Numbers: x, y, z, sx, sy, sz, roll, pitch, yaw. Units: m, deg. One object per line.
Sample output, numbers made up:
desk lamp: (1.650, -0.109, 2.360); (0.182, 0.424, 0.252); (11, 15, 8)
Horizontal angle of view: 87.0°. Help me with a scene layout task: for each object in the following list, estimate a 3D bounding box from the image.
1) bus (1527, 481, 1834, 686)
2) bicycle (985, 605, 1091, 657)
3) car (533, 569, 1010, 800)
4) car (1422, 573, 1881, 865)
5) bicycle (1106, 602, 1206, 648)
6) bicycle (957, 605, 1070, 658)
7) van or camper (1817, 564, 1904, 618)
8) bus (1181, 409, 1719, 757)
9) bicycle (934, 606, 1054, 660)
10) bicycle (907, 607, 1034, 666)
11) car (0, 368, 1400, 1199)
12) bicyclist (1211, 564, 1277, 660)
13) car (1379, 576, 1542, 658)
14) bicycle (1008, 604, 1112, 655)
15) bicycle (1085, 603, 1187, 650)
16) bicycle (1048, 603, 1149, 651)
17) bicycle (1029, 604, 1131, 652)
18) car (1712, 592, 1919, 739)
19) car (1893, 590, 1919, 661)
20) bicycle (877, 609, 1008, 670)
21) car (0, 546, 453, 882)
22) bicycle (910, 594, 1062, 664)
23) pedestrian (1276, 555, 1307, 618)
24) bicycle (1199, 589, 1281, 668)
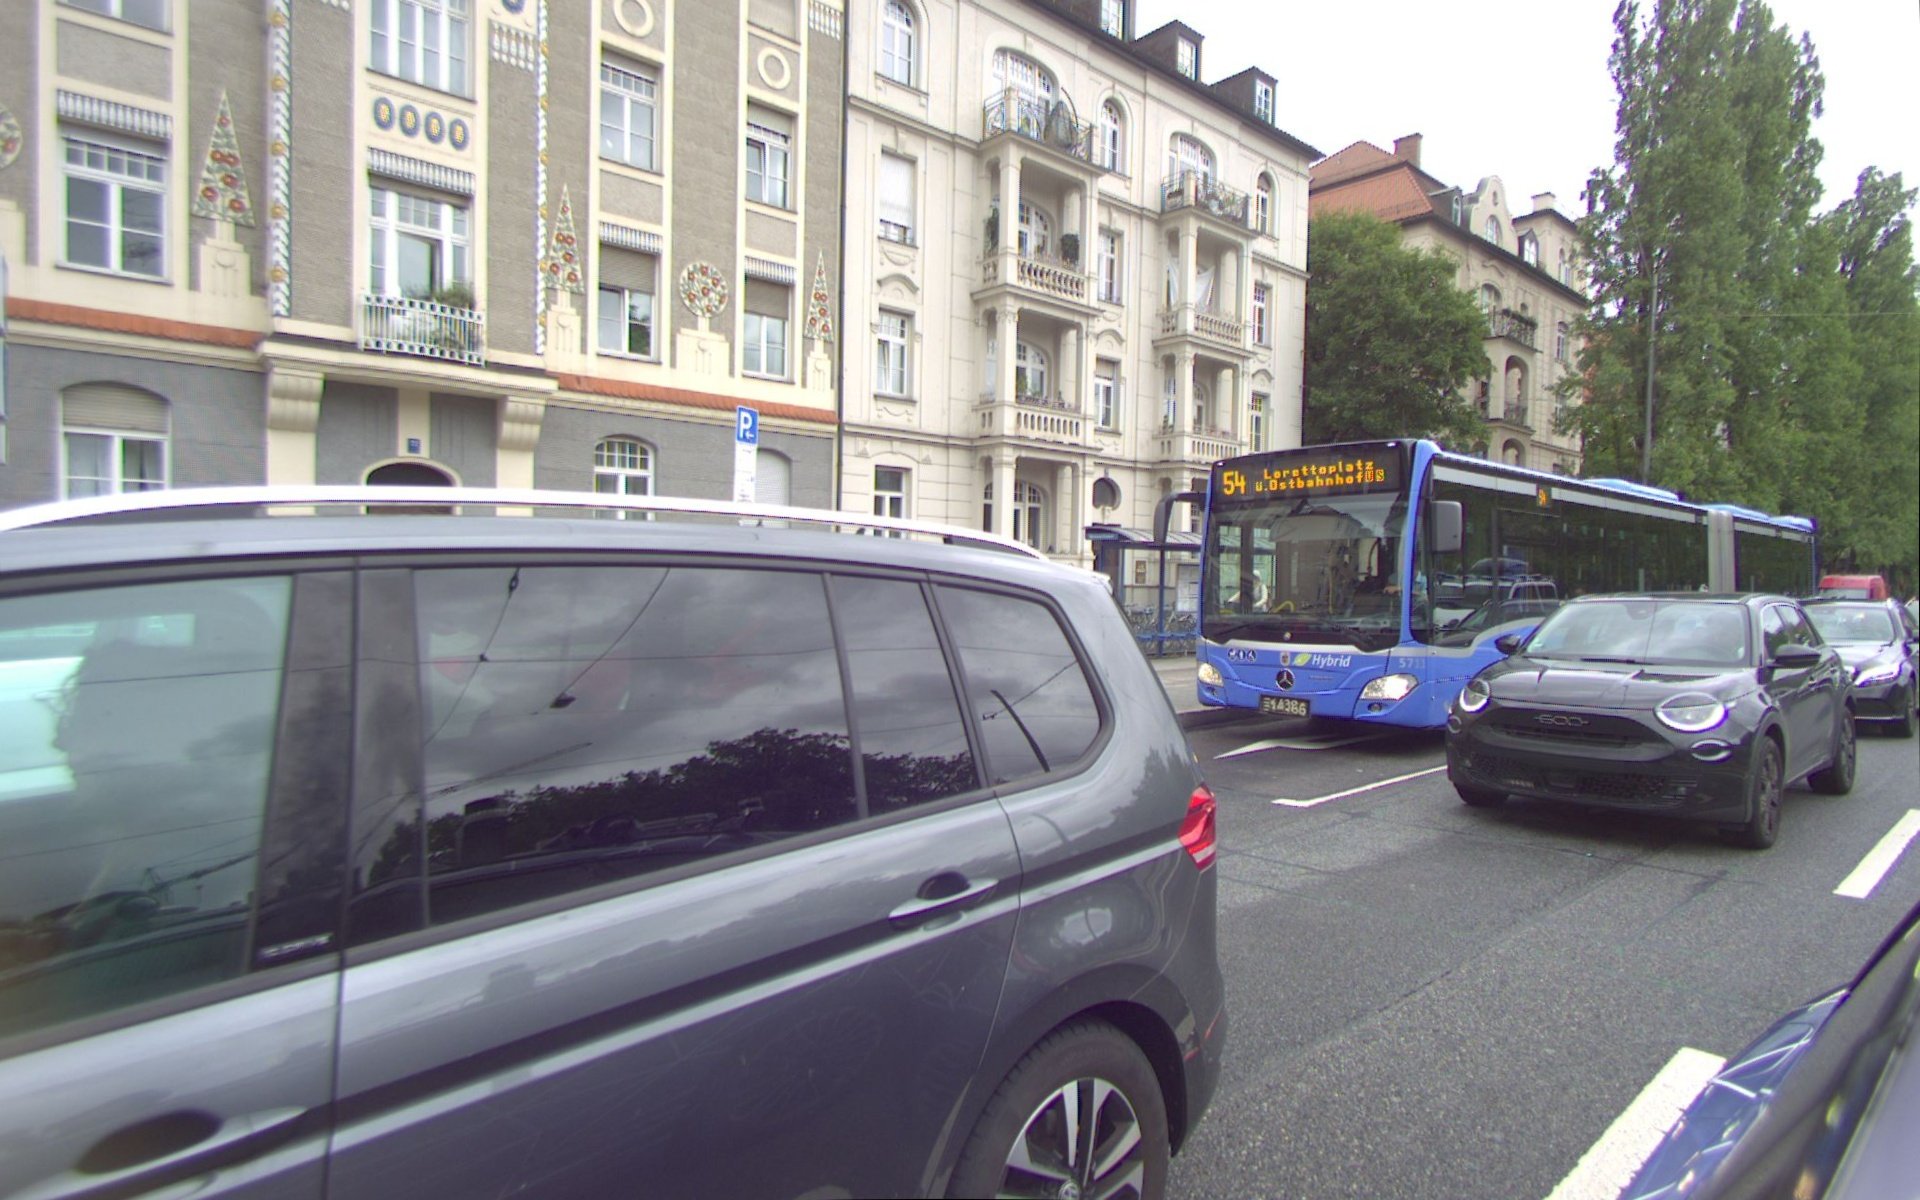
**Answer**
bus: (13.486, -0.284, 18.583); (8.383, 3.011, 2.636); (0, 0, -40)
bicycle: (1.539, 0.589, 20.351); (0.629, 0.932, 2.320); (-1, 1, -43)
car: (-1.494, 0.537, 8.709); (3.678, 1.527, 1.729); (-1, 2, -42)
car: (5.088, 0.612, 7.249); (3.901, 1.523, 1.778); (0, 0, -41)
bicycle: (4.445, 0.547, 23.113); (0.629, 0.932, 2.320); (-1, 1, -43)
bicycle: (1.019, 0.596, 19.840); (2.312, 0.932, 0.579); (1, 1, 38)
van or camper: (38.426, -0.401, 43.157); (5.419, 2.124, 2.122); (-1, 2, -42)
bus: (6.735, -0.191, 12.803); (9.299, 3.011, 2.636); (0, 0, -40)
bicycle: (0.623, 0.605, 19.176); (2.307, 0.932, 0.580); (1, 1, 33)
bicycle: (0.164, 0.620, 17.884); (2.307, 0.932, 0.580); (1, 1, 33)
car: (-1.285, 0.591, 1.691); (4.624, 1.667, 1.776); (0, 3, -40)
bicyclist: (4.964, 0.193, 17.699); (0.923, 1.623, 0.681); (0, 2, -40)
car: (10.316, 0.289, 20.768); (3.678, 1.491, 1.729); (-1, 3, -42)
bicycle: (2.023, 0.581, 20.857); (0.629, 0.932, 2.320); (-1, 1, -43)
bicycle: (3.873, 0.556, 22.459); (0.629, 0.932, 2.320); (-1, 1, -43)
bicycle: (2.993, 0.564, 22.100); (0.629, 0.932, 2.320); (-1, 1, -43)
bicycle: (2.525, 0.572, 21.558); (0.629, 0.932, 2.320); (-1, 1, -43)
car: (10.507, 0.638, 11.988); (4.171, 1.451, 1.702); (-1, 0, -41)
car: (20.494, 0.543, 20.677); (3.569, 1.385, 1.703); (0, 3, -41)
bicycle: (-0.323, 0.645, 17.147); (2.307, 0.932, 0.580); (1, 1, 33)
car: (-5.092, 0.514, 5.511); (3.895, 1.596, 1.731); (0, 3, -39)
bicycle: (0.437, 0.497, 18.539); (2.899, 1.162, 0.633); (1, 1, 33)
pedestrian: (10.156, -0.420, 30.993); (0.661, 1.919, 0.609); (0, 2, -38)
bicycle: (4.910, 0.473, 17.690); (1.747, 1.304, 0.424); (-1, 2, -40)
